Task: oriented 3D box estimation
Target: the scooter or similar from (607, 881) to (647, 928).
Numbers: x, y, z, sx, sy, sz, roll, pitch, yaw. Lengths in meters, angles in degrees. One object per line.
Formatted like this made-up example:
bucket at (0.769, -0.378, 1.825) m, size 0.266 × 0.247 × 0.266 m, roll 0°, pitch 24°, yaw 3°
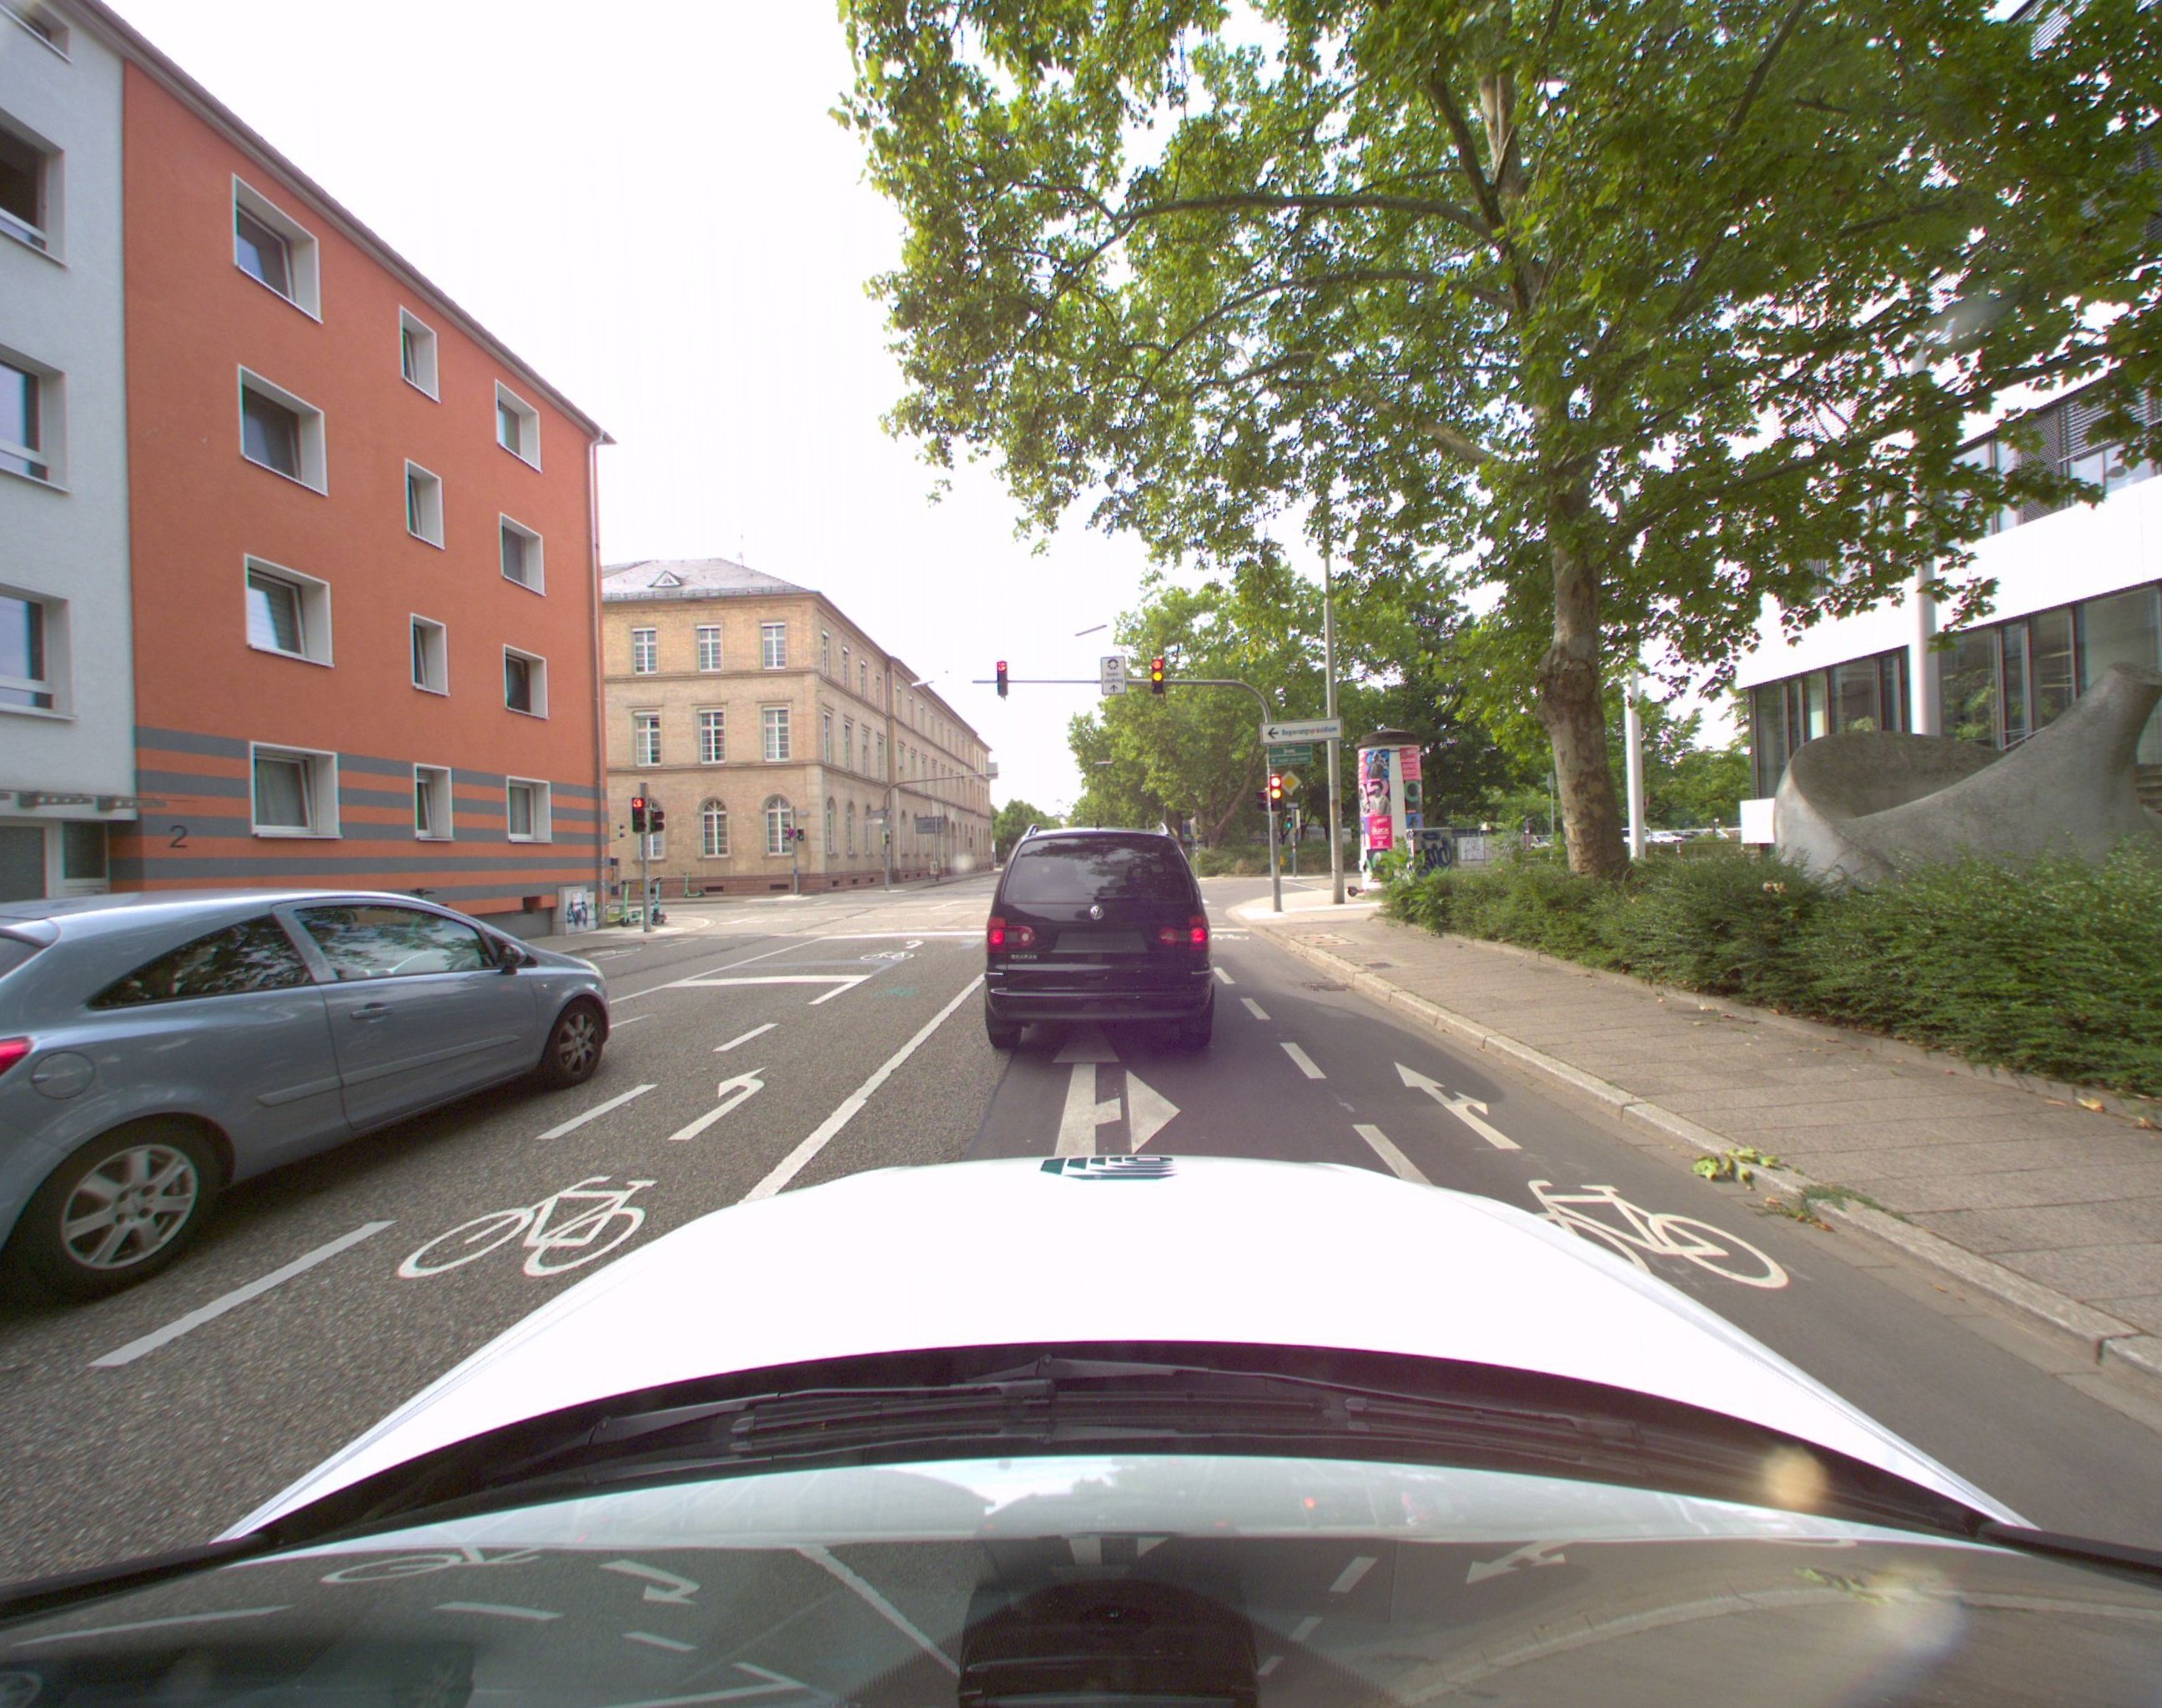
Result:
scooter or similar at (-11.591, 1.273, 20.825) m, size 0.377 × 1.147 × 1.141 m, roll -2°, pitch -2°, yaw -1°

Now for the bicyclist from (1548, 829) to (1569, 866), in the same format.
bicyclist at (21.427, -0.276, 36.564) m, size 0.566 × 1.618 × 0.536 m, roll -2°, pitch 0°, yaw 1°

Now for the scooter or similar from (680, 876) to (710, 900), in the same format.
scooter or similar at (-17.205, 1.512, 36.336) m, size 1.134 × 1.049 × 0.379 m, roll -2°, pitch -2°, yaw 1°

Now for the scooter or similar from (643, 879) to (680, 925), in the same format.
scooter or similar at (-10.985, 1.250, 21.356) m, size 0.377 × 1.144 × 1.141 m, roll -2°, pitch -2°, yaw -1°

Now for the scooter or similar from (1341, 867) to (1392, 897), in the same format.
scooter or similar at (7.590, 0.738, 21.659) m, size 1.214 × 0.736 × 0.369 m, roll -2°, pitch 0°, yaw 1°

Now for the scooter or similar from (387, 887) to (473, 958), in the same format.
scooter or similar at (-11.646, 1.199, 14.606) m, size 0.376 × 1.184 × 1.390 m, roll -2°, pitch -2°, yaw 2°

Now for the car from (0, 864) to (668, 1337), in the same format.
car at (-4.244, 0.848, 4.414) m, size 1.706 × 1.420 × 4.253 m, roll -4°, pitch 0°, yaw 1°

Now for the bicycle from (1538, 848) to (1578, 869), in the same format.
bicycle at (21.412, 0.182, 36.570) m, size 1.465 × 0.885 × 0.555 m, roll -2°, pitch 0°, yaw 1°

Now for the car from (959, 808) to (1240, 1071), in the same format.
car at (0.237, 0.575, 7.843) m, size 1.866 × 1.745 × 4.577 m, roll -2°, pitch 0°, yaw 3°

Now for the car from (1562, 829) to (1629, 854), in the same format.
car at (35.395, -0.834, 56.147) m, size 1.955 × 1.651 × 4.152 m, roll -2°, pitch 0°, yaw 0°
